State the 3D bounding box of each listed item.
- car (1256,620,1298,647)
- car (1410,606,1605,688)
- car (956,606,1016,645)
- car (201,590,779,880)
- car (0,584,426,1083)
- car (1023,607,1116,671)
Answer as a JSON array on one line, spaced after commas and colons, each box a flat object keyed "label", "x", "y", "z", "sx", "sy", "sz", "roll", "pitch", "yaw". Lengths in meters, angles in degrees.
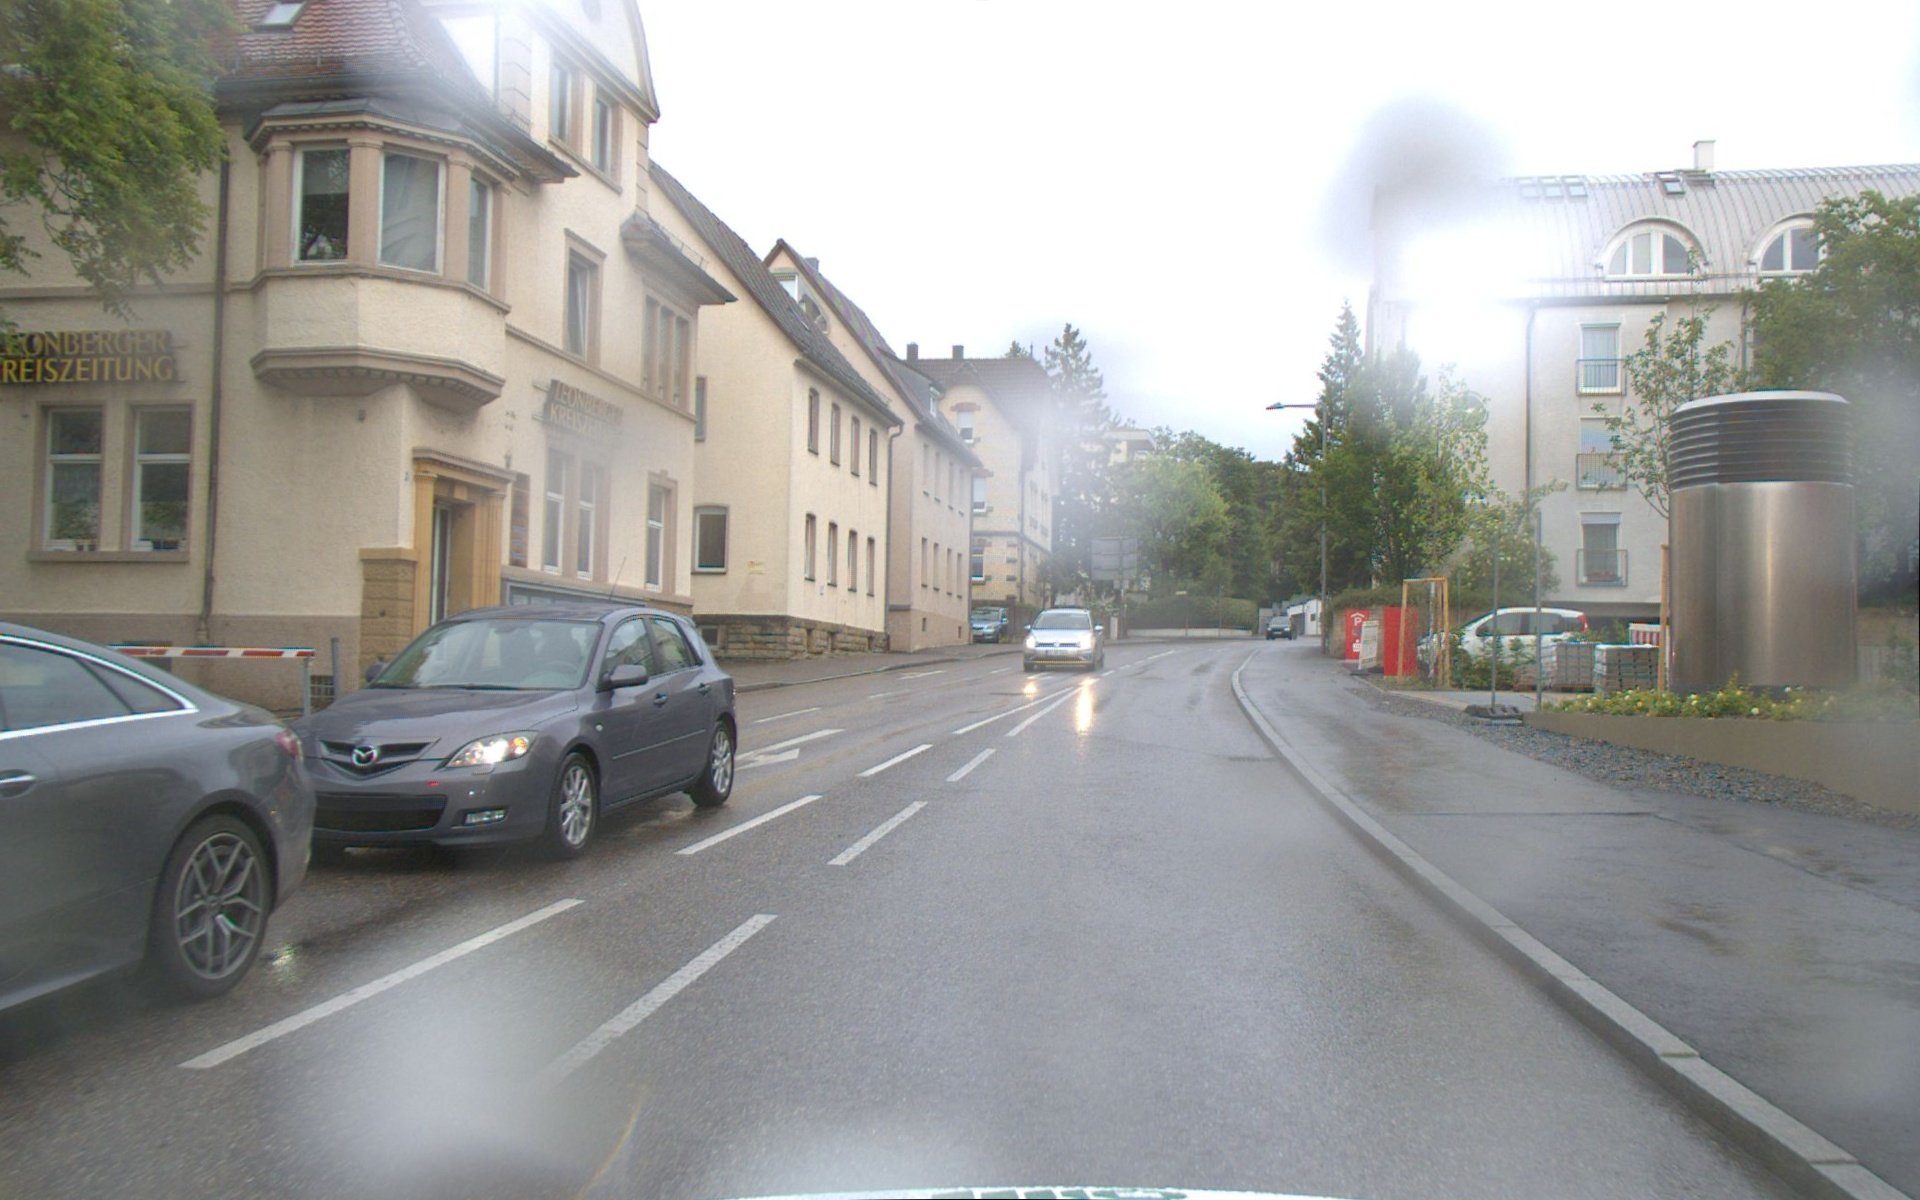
[{"label": "car", "x": 20.082, "y": 2.135, "z": 104.578, "sx": 1.710, "sy": 1.599, "sz": 3.811, "roll": 4, "pitch": 0, "yaw": 24}, {"label": "car", "x": 11.247, "y": 0.945, "z": 34.211, "sx": 3.589, "sy": 1.529, "sz": 1.778, "roll": 2, "pitch": 0, "yaw": 10}, {"label": "car", "x": 1.119, "y": 1.057, "z": 69.560, "sx": 1.733, "sy": 1.529, "sz": 3.886, "roll": 2, "pitch": 0, "yaw": 13}, {"label": "car", "x": -2.738, "y": 0.708, "z": 10.957, "sx": 1.760, "sy": 1.464, "sz": 4.693, "roll": 1, "pitch": 0, "yaw": 10}, {"label": "car", "x": -3.746, "y": 0.672, "z": 5.022, "sx": 1.899, "sy": 1.466, "sz": 5.020, "roll": 1, "pitch": 0, "yaw": 10}, {"label": "car", "x": 2.795, "y": 0.931, "z": 41.237, "sx": 1.760, "sy": 1.464, "sz": 4.693, "roll": 1, "pitch": 0, "yaw": 10}]
